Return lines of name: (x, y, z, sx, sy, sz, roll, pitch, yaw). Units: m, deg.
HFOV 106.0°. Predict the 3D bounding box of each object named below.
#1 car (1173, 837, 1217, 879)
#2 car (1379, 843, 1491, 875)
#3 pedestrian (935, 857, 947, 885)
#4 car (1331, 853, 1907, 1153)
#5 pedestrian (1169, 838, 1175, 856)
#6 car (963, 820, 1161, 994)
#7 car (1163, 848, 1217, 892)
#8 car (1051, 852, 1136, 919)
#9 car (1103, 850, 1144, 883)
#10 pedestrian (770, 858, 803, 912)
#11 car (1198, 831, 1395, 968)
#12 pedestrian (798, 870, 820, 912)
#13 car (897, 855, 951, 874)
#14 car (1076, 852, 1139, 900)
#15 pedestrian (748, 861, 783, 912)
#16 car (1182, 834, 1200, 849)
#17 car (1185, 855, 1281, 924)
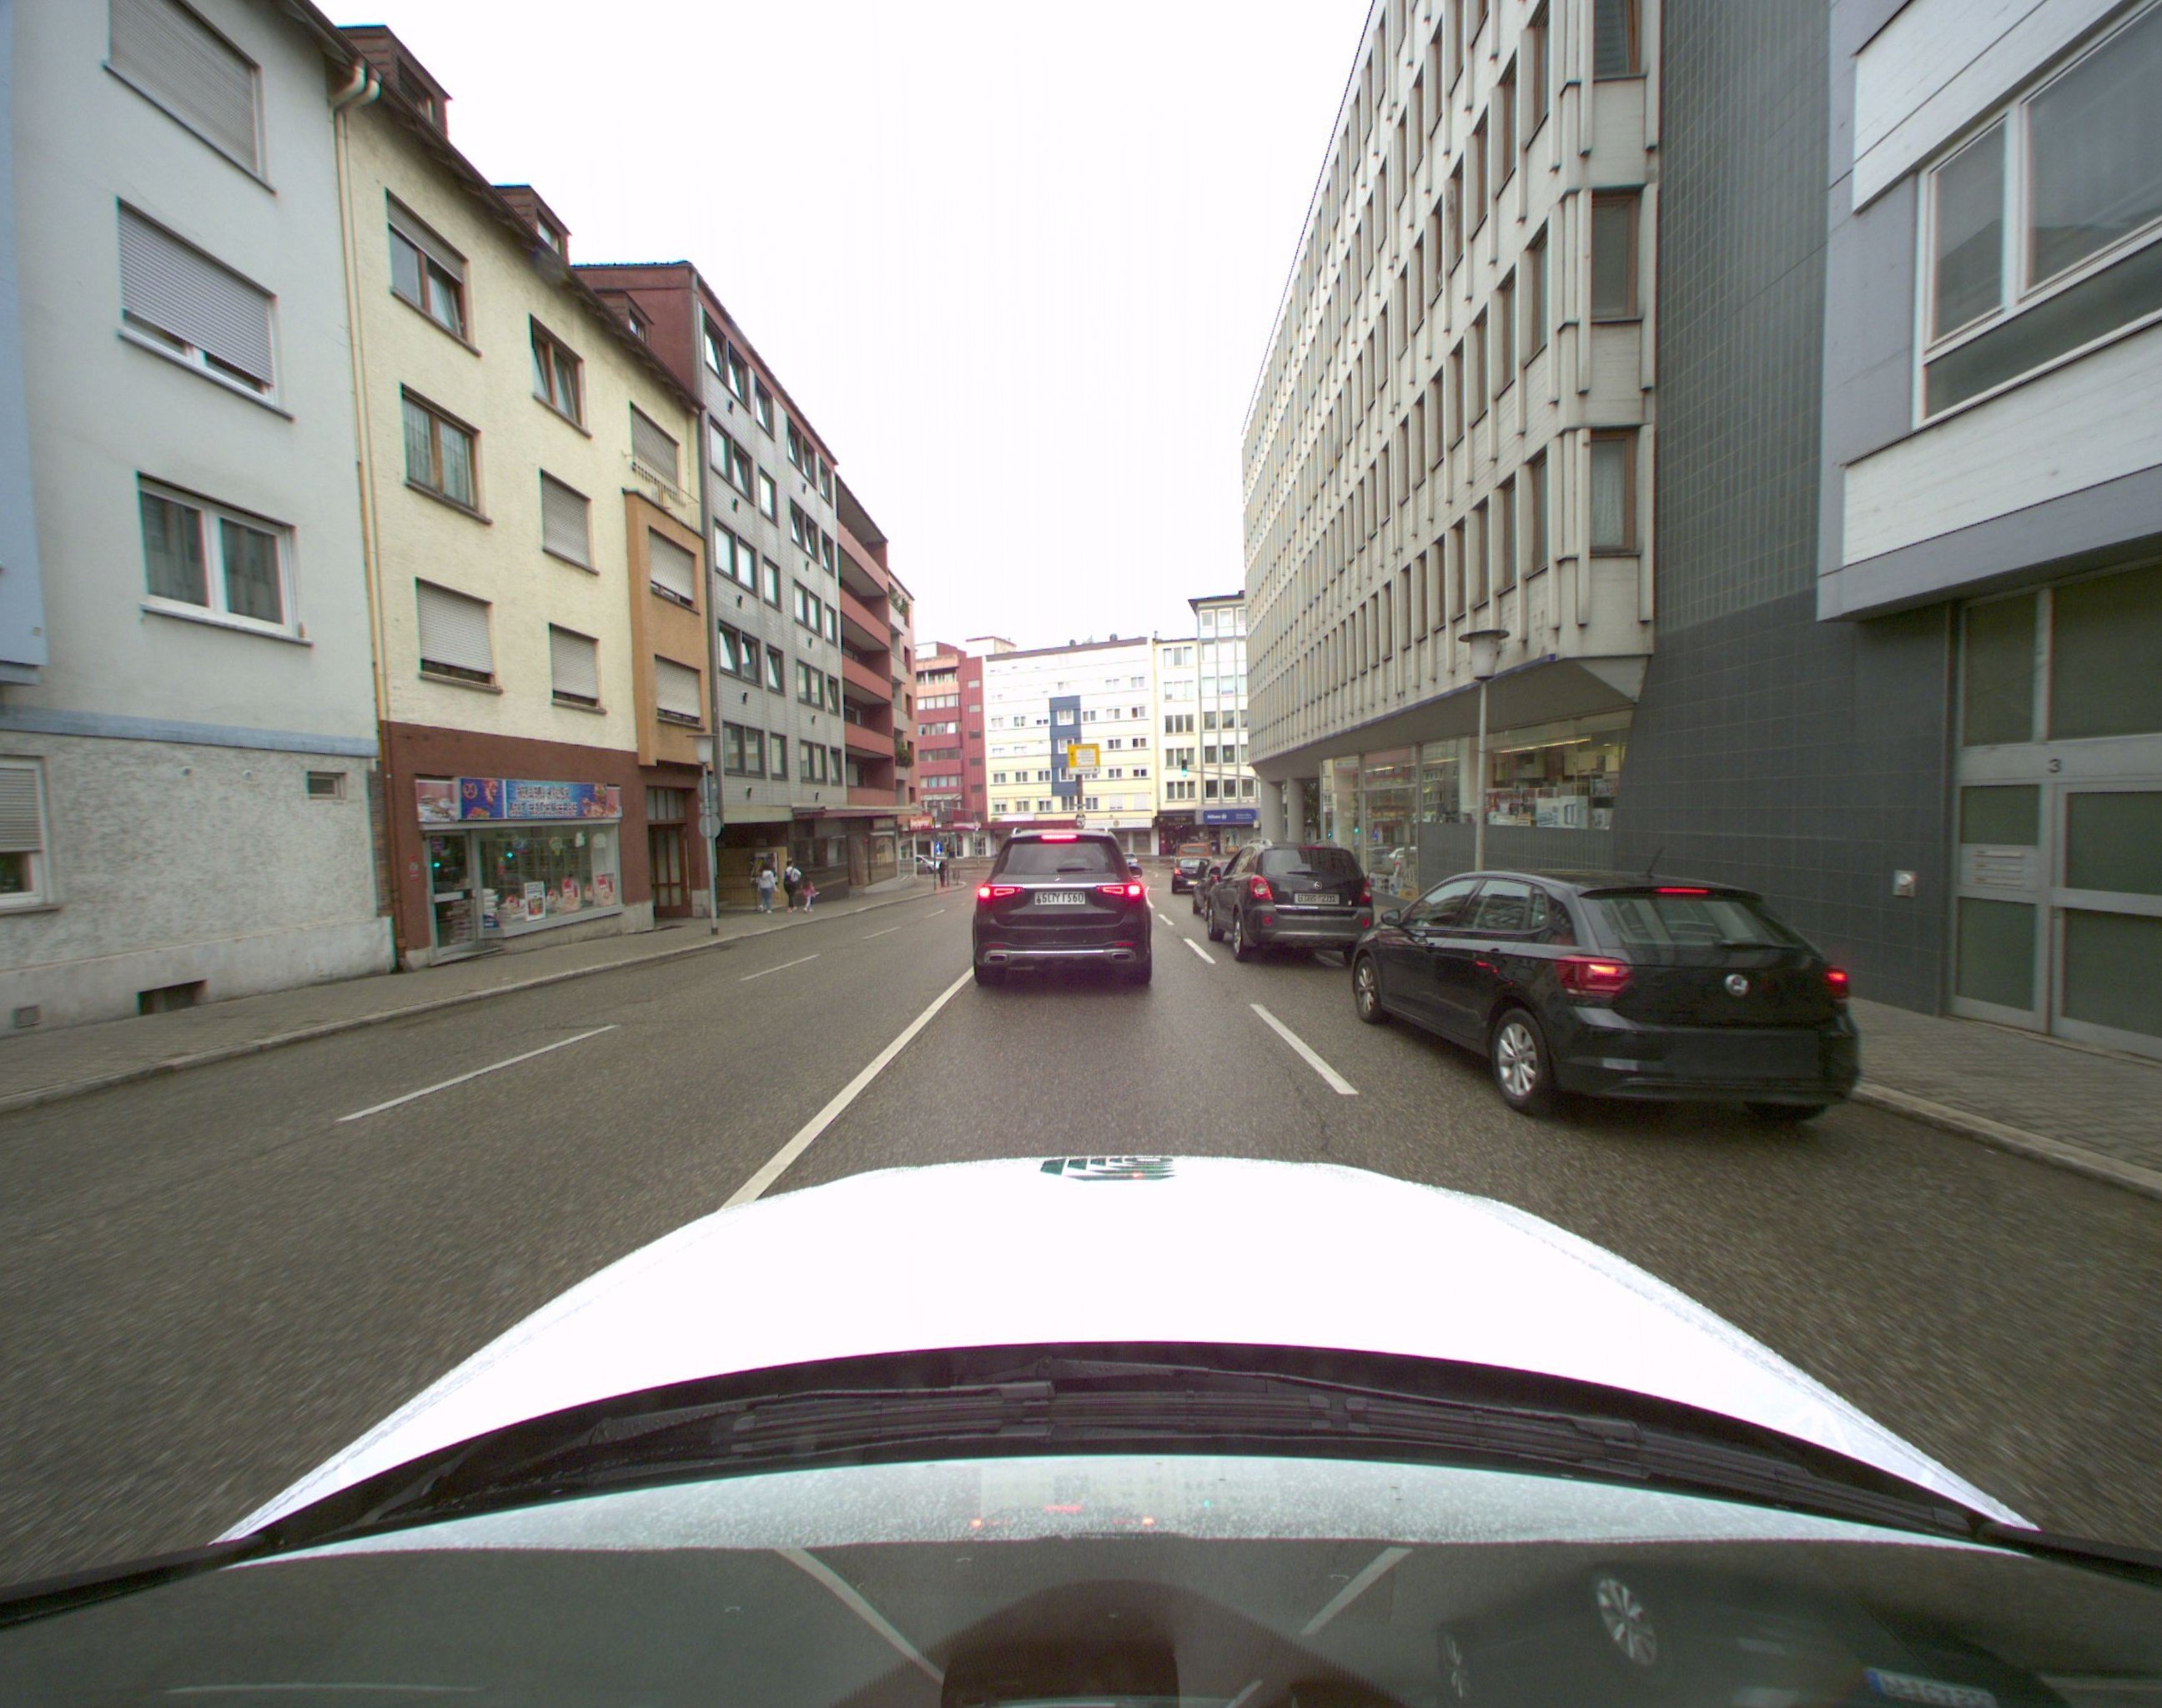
car: (6.315, 0.230, 45.806, 2.231, 2.228, 5.437, 0, 0, 6)
car: (17.736, 0.263, 40.951, 4.790, 1.494, 1.868, -1, 0, 43)
pedestrian: (-8.387, 1.019, 48.824, 0.552, 1.697, 0.623, -1, 0, -2)
car: (3.354, 0.755, 6.137, 1.683, 1.477, 4.000, 2, 0, 0)
pedestrian: (9.042, -0.683, 81.161, 0.561, 1.688, 0.758, -2, 6, 8)
car: (-0.188, 0.538, 10.750, 2.032, 1.799, 4.662, 0, 0, 0)
car: (4.331, 0.632, 32.897, 1.815, 1.658, 4.499, 0, -1, 3)
car: (0.286, 0.690, 20.284, 1.867, 1.494, 4.400, 0, 0, 0)
car: (2.075, 0.652, 40.590, 1.917, 1.515, 4.664, 1, -1, 2)
pedestrian: (-9.531, 0.994, 26.372, 0.826, 1.689, 0.722, 1, 0, -8)
car: (3.084, 0.577, 12.689, 1.891, 1.695, 4.506, 2, 0, 1)
pedestrian: (-8.748, 1.184, 26.189, 0.533, 1.323, 0.722, 1, 0, -7)
car: (-13.346, 0.876, 69.411, 4.130, 1.592, 1.748, 0, 1, 16)
car: (0.913, 0.712, 28.497, 1.986, 1.486, 4.238, -2, 0, 2)
pedestrian: (-9.891, 1.016, 25.541, 0.826, 1.561, 0.722, 1, 0, -8)
car: (12.706, -1.438, 93.644, 1.786, 1.670, 4.012, -2, 0, 10)
car: (3.599, 0.787, 19.887, 1.759, 1.397, 4.004, 3, 0, 3)
